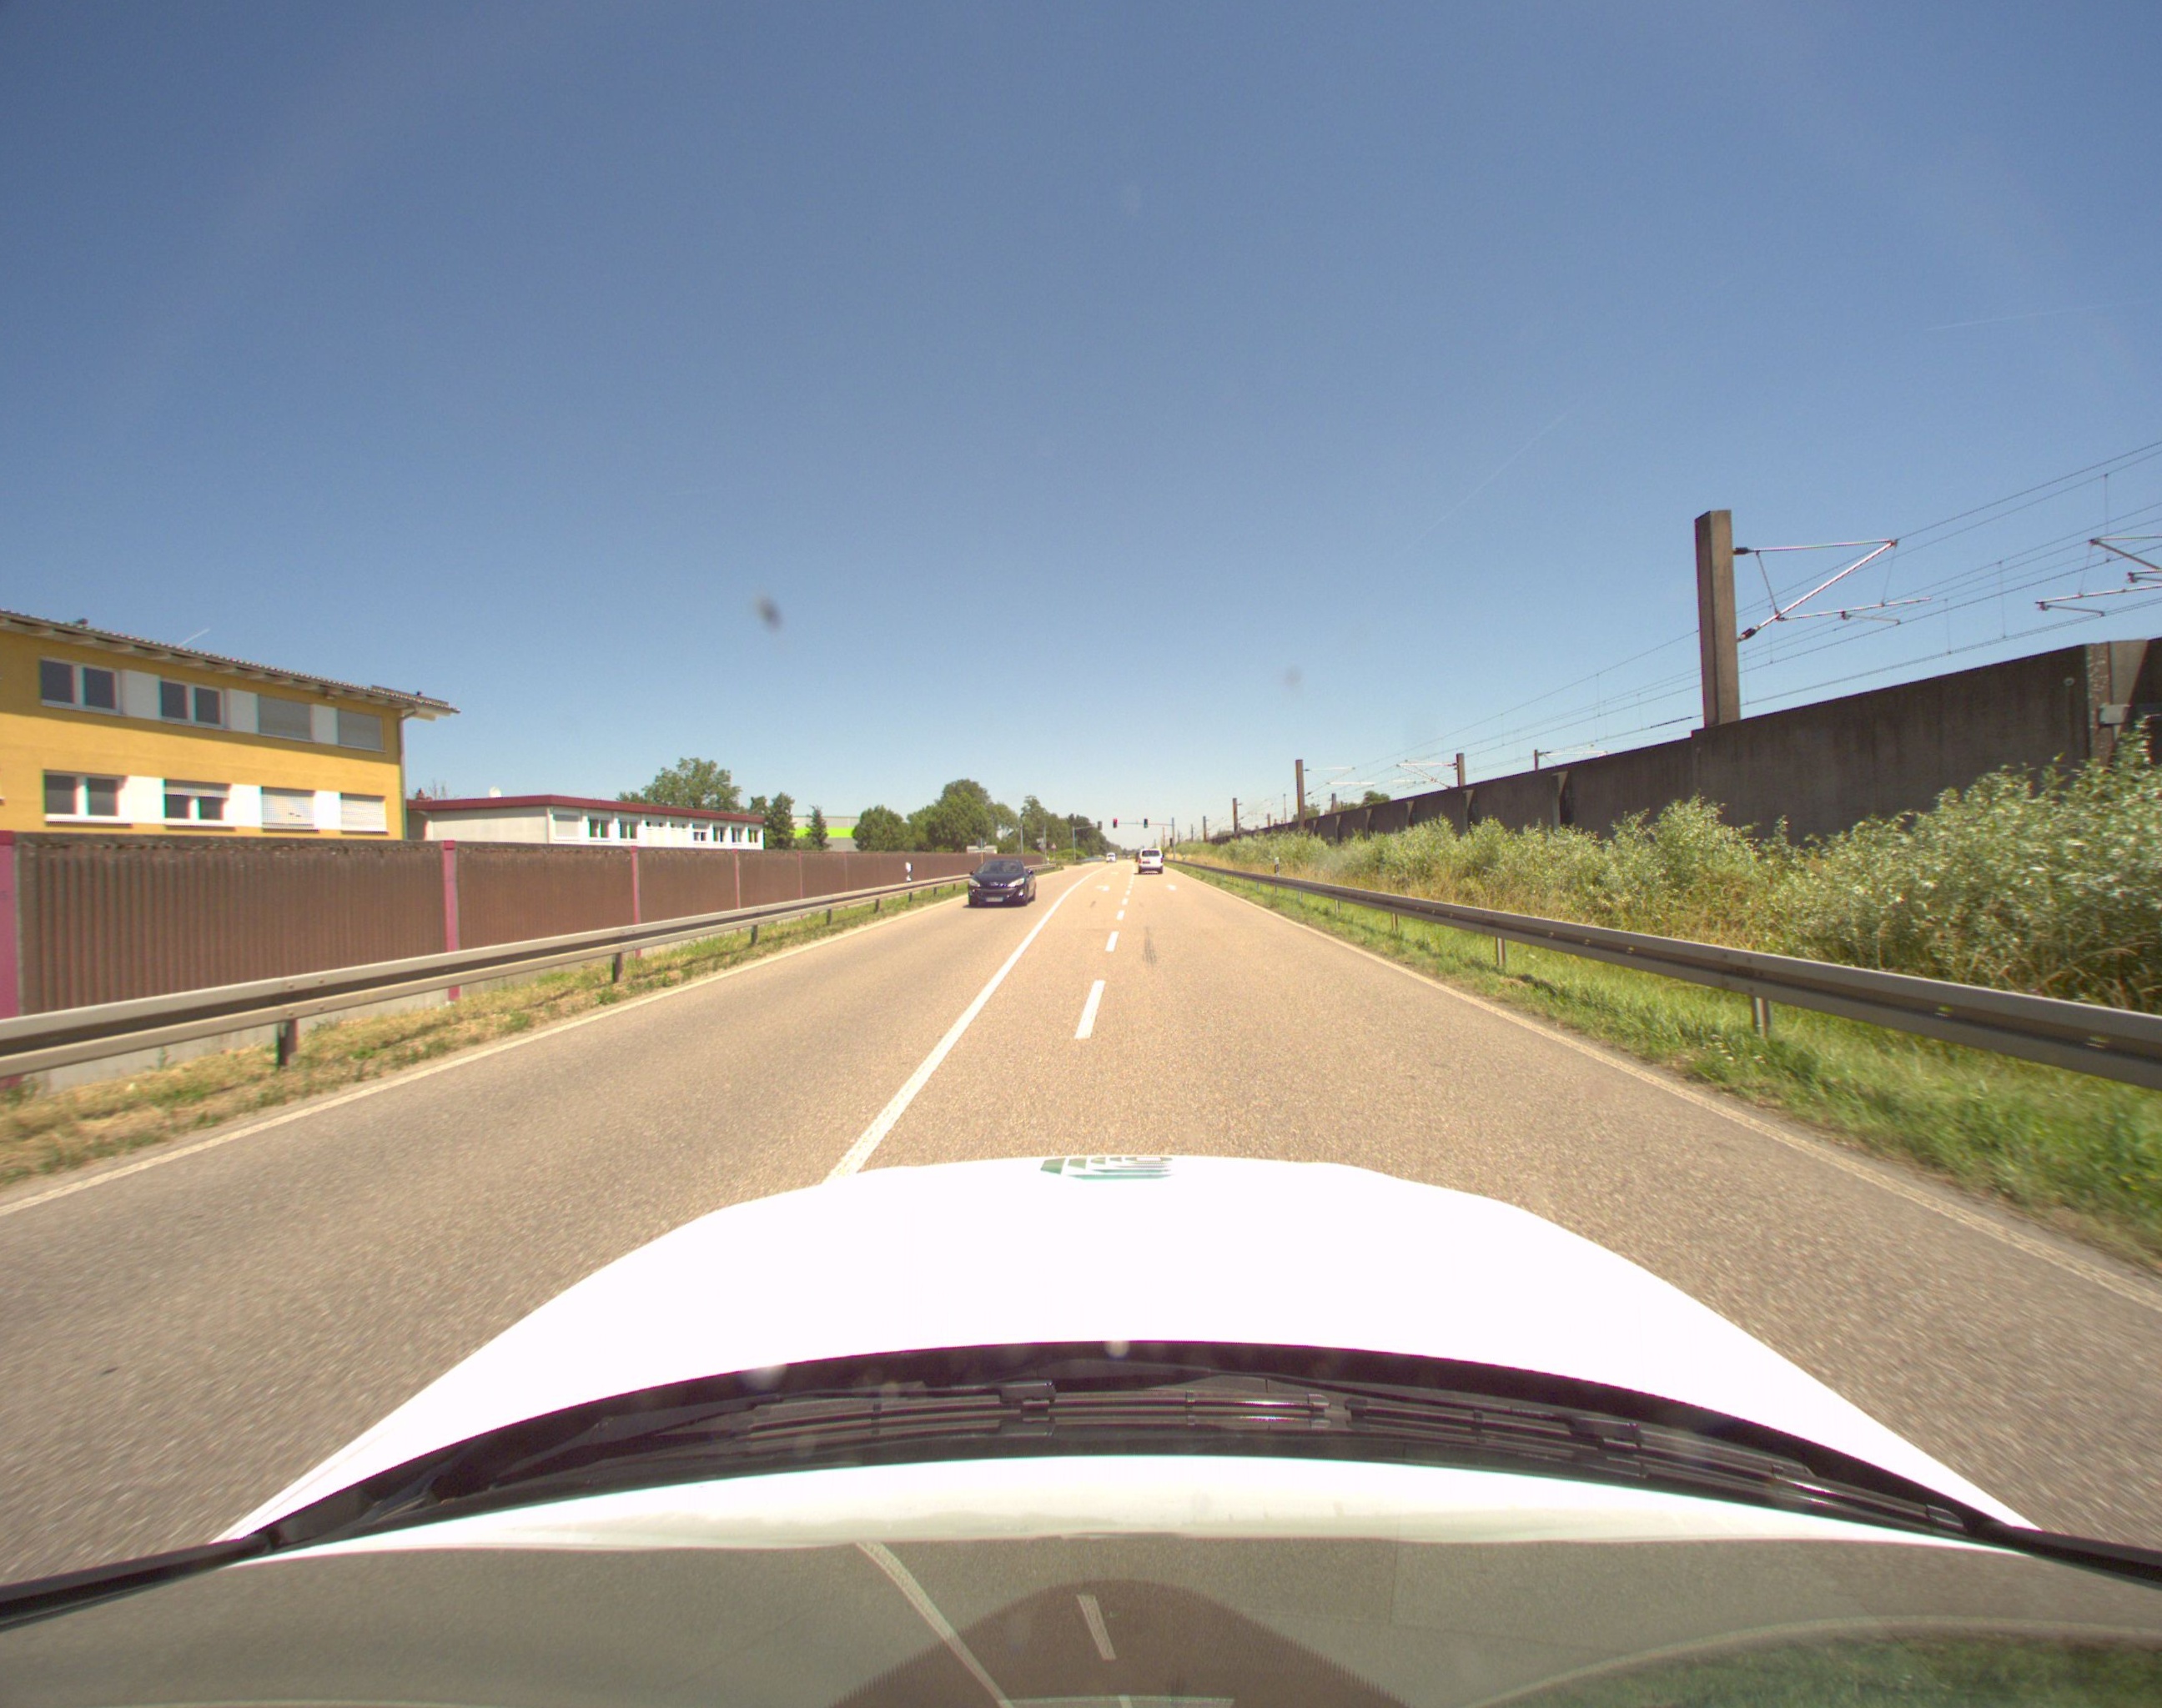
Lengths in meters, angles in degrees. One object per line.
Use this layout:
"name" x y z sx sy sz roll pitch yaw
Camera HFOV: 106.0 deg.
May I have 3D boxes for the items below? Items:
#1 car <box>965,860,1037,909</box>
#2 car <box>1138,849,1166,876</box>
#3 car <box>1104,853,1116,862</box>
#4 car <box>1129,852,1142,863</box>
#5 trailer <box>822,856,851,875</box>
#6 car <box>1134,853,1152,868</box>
"car" -2.440 0.895 25.843 1.839 1.390 4.190 0 0 0
"car" 5.459 0.619 63.100 1.985 1.983 4.062 0 0 2
"car" 5.619 0.641 159.006 1.883 1.740 4.771 -1 0 -3
"car" 10.236 0.633 153.037 2.146 1.968 4.545 -1 0 2
"trailer" -36.995 1.768 123.328 3.779 2.764 1.804 -1 -1 -43
"car" 7.554 0.763 100.192 2.012 1.726 4.545 -1 0 2
